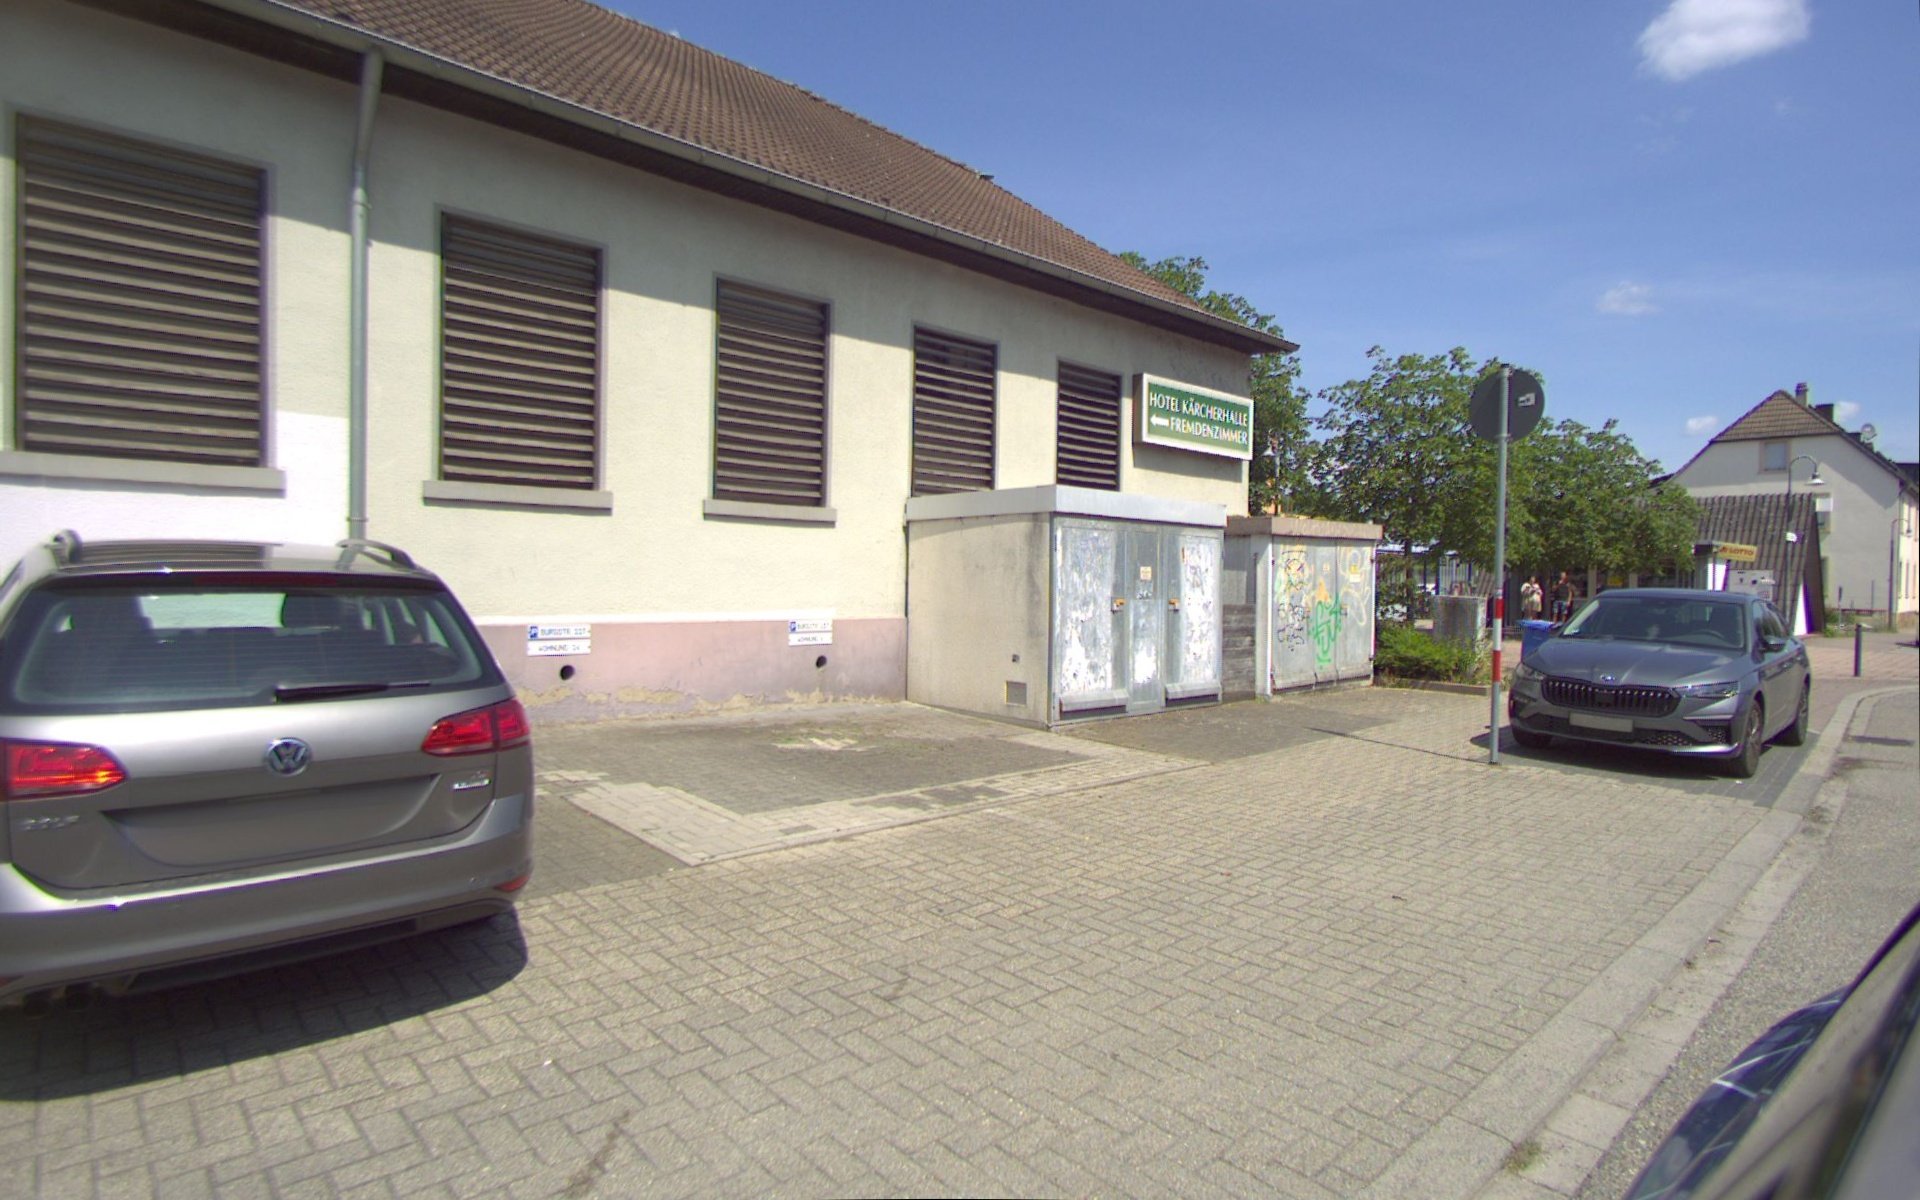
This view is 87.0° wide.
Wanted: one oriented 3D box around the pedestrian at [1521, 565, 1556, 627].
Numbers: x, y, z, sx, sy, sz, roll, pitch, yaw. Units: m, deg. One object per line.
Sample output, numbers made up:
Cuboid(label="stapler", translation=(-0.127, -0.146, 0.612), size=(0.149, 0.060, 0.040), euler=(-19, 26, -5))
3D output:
Cuboid(label="pedestrian", translation=(16.981, -0.126, 29.710), size=(0.667, 1.811, 0.549), euler=(1, 1, -1))

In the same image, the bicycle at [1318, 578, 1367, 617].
Cuboid(label="bicycle", translation=(13.974, -0.090, 36.932), size=(2.310, 1.367, 0.605), euler=(0, 2, -40))

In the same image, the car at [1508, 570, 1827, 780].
Cuboid(label="car", translation=(6.686, 0.527, 9.385), size=(4.071, 1.507, 1.629), euler=(0, 2, -44))

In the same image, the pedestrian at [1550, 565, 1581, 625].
Cuboid(label="pedestrian", translation=(17.796, -0.153, 29.758), size=(0.586, 1.741, 0.464), euler=(1, 1, -1))

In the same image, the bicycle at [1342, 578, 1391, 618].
Cuboid(label="bicycle", translation=(14.657, -0.075, 36.481), size=(2.310, 1.367, 0.605), euler=(0, 2, -40))

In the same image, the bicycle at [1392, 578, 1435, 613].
Cuboid(label="bicycle", translation=(18.352, -0.192, 40.944), size=(2.310, 1.367, 0.605), euler=(0, 2, -40))

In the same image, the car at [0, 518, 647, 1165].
Cuboid(label="car", translation=(-3.228, 0.422, 4.372), size=(1.885, 1.472, 4.535), euler=(0, 3, -41))
